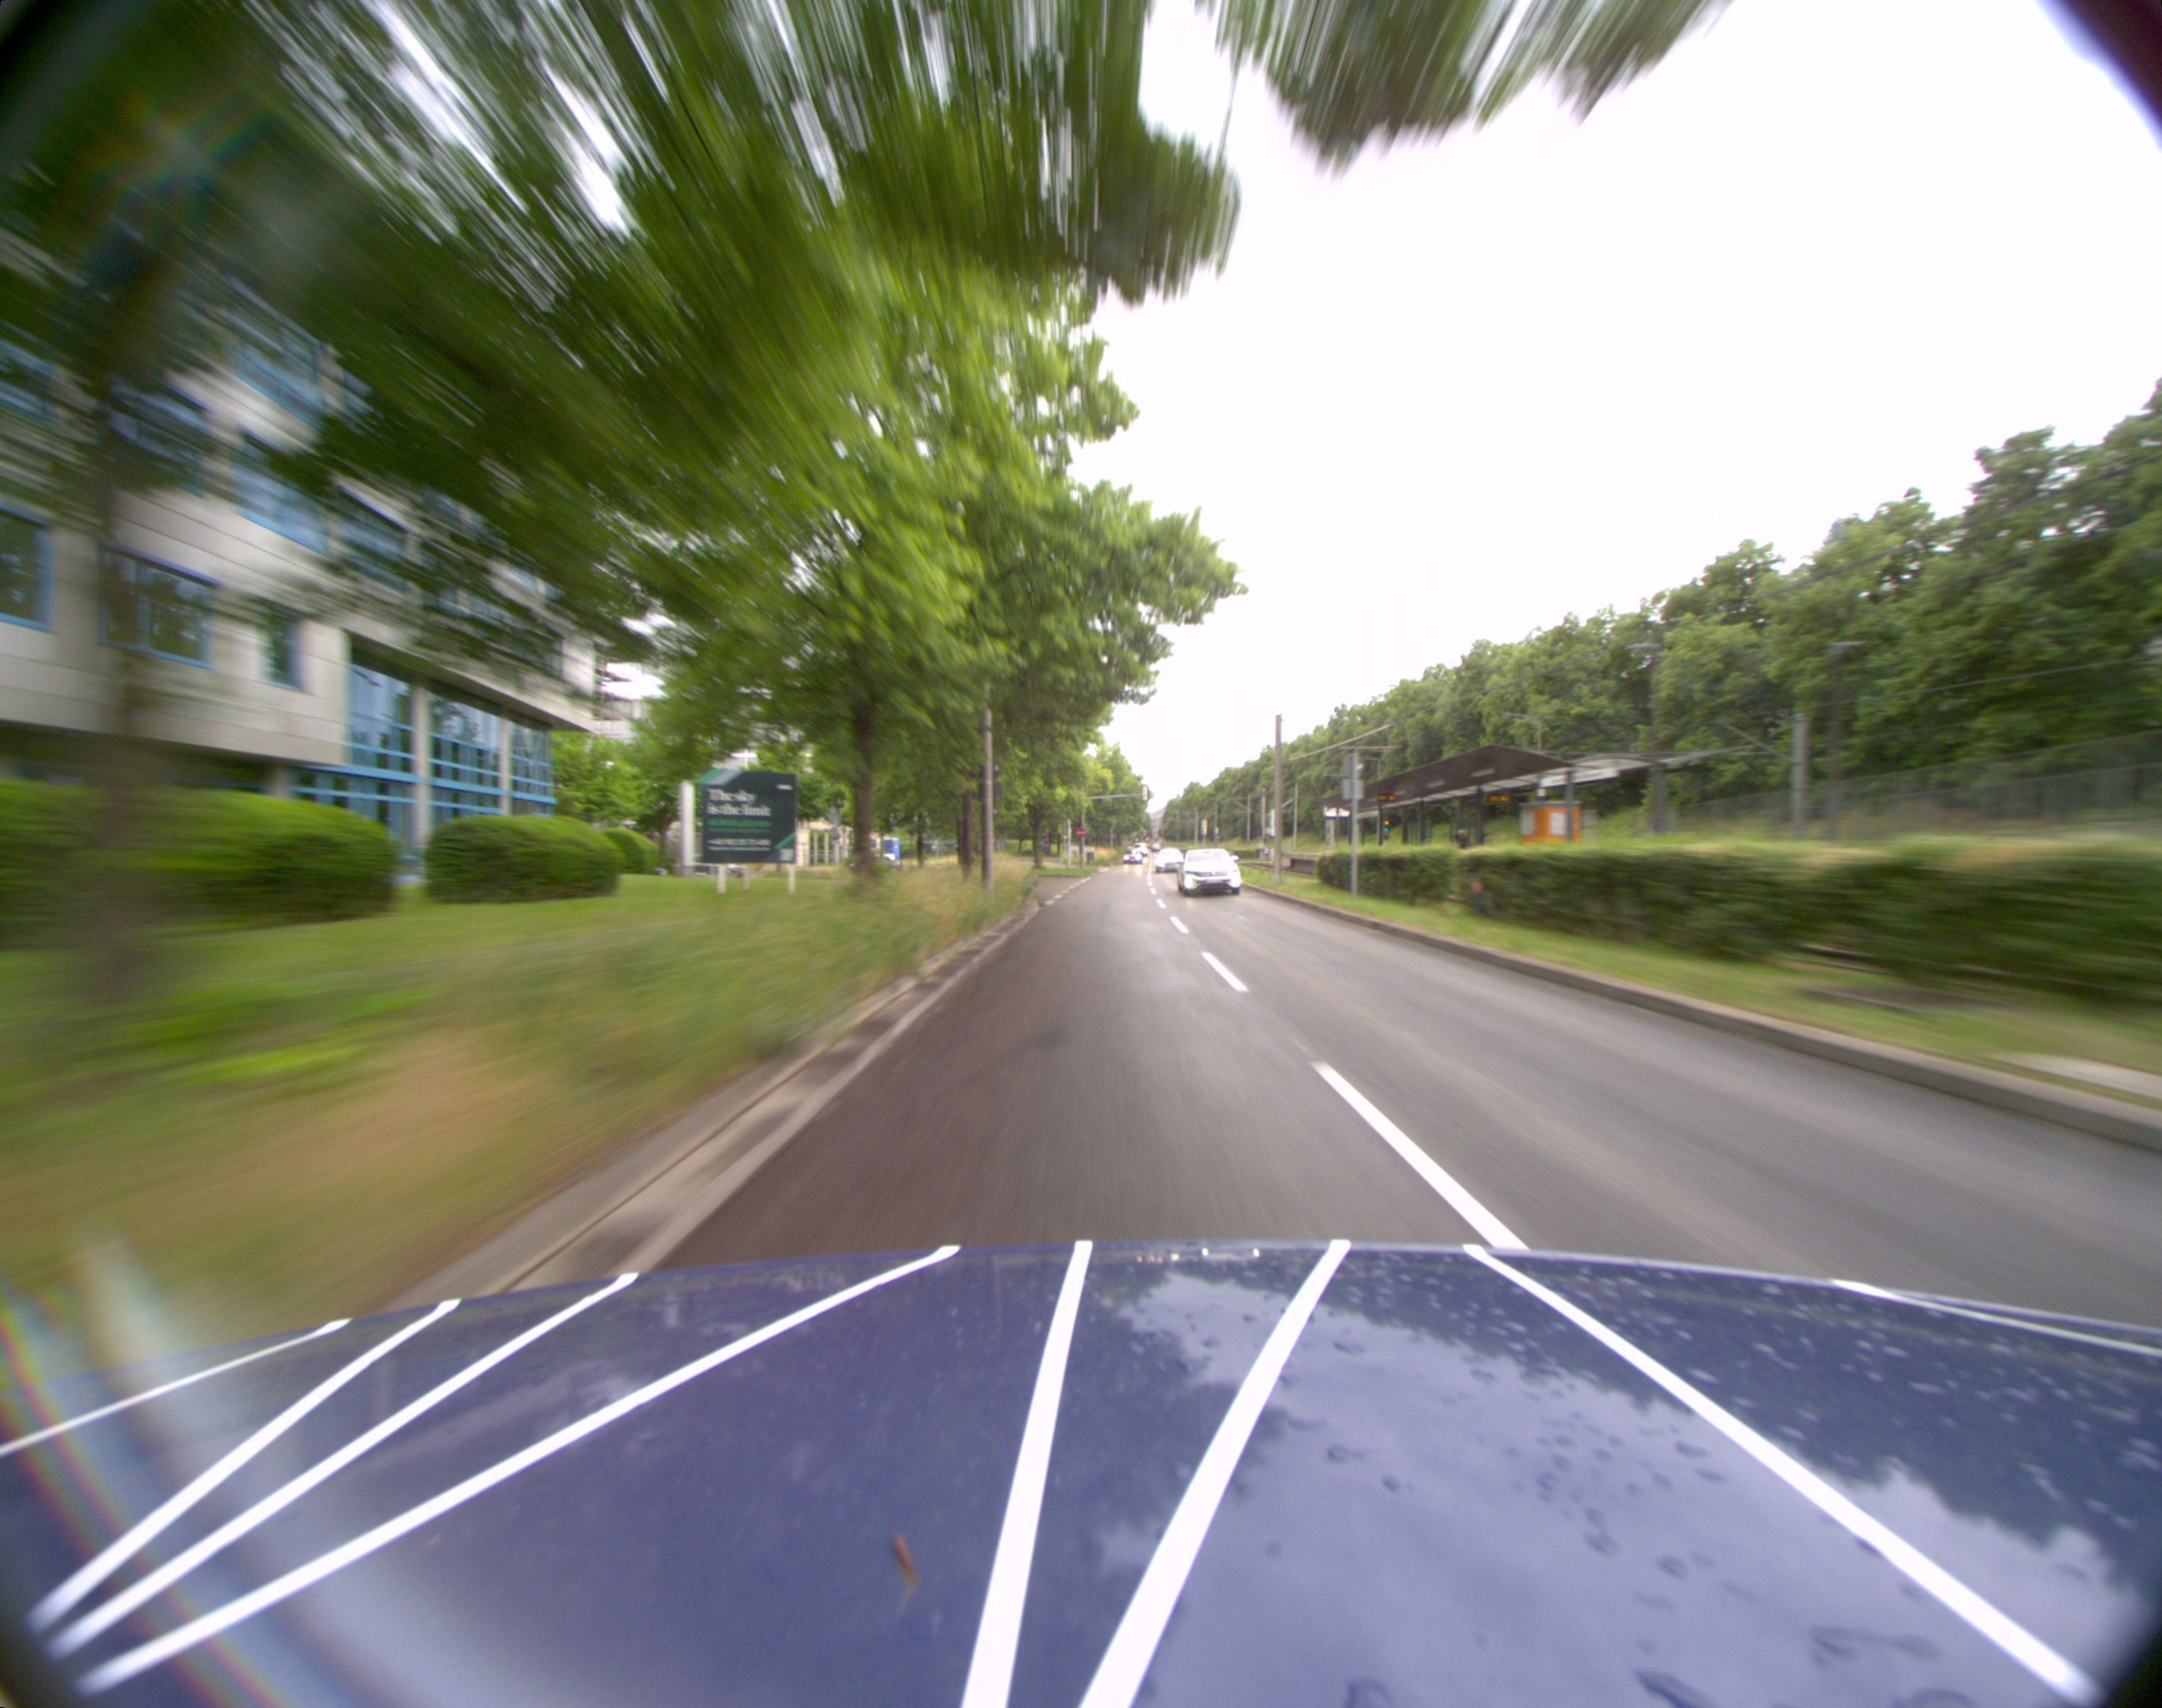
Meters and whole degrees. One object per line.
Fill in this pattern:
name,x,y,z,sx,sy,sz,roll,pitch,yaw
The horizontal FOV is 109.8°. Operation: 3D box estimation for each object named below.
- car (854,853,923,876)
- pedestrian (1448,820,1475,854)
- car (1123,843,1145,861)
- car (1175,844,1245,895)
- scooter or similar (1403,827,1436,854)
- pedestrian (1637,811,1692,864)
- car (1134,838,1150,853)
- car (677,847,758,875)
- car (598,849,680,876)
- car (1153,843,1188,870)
car,-13.118,0.676,51.984,4.429,1.425,1.710,-1,1,-9
pedestrian,15.775,-0.703,31.507,0.754,1.348,0.692,-1,2,2
car,5.030,-0.207,71.986,1.959,1.469,4.700,-3,1,5
car,4.280,0.461,25.821,1.959,1.457,4.700,-2,1,5
scooter or similar,15.697,-0.624,35.250,0.380,1.211,1.297,-5,3,-41
pedestrian,18.015,-0.500,23.495,0.937,1.602,1.027,-1,2,4
car,8.401,-1.151,105.537,1.960,1.914,4.845,-3,1,2
car,-21.544,0.423,45.070,4.104,1.632,1.759,0,-1,10
car,-26.735,0.545,45.988,4.104,1.569,1.759,0,-1,10
car,5.579,0.104,47.819,1.959,1.472,4.700,-3,1,4
